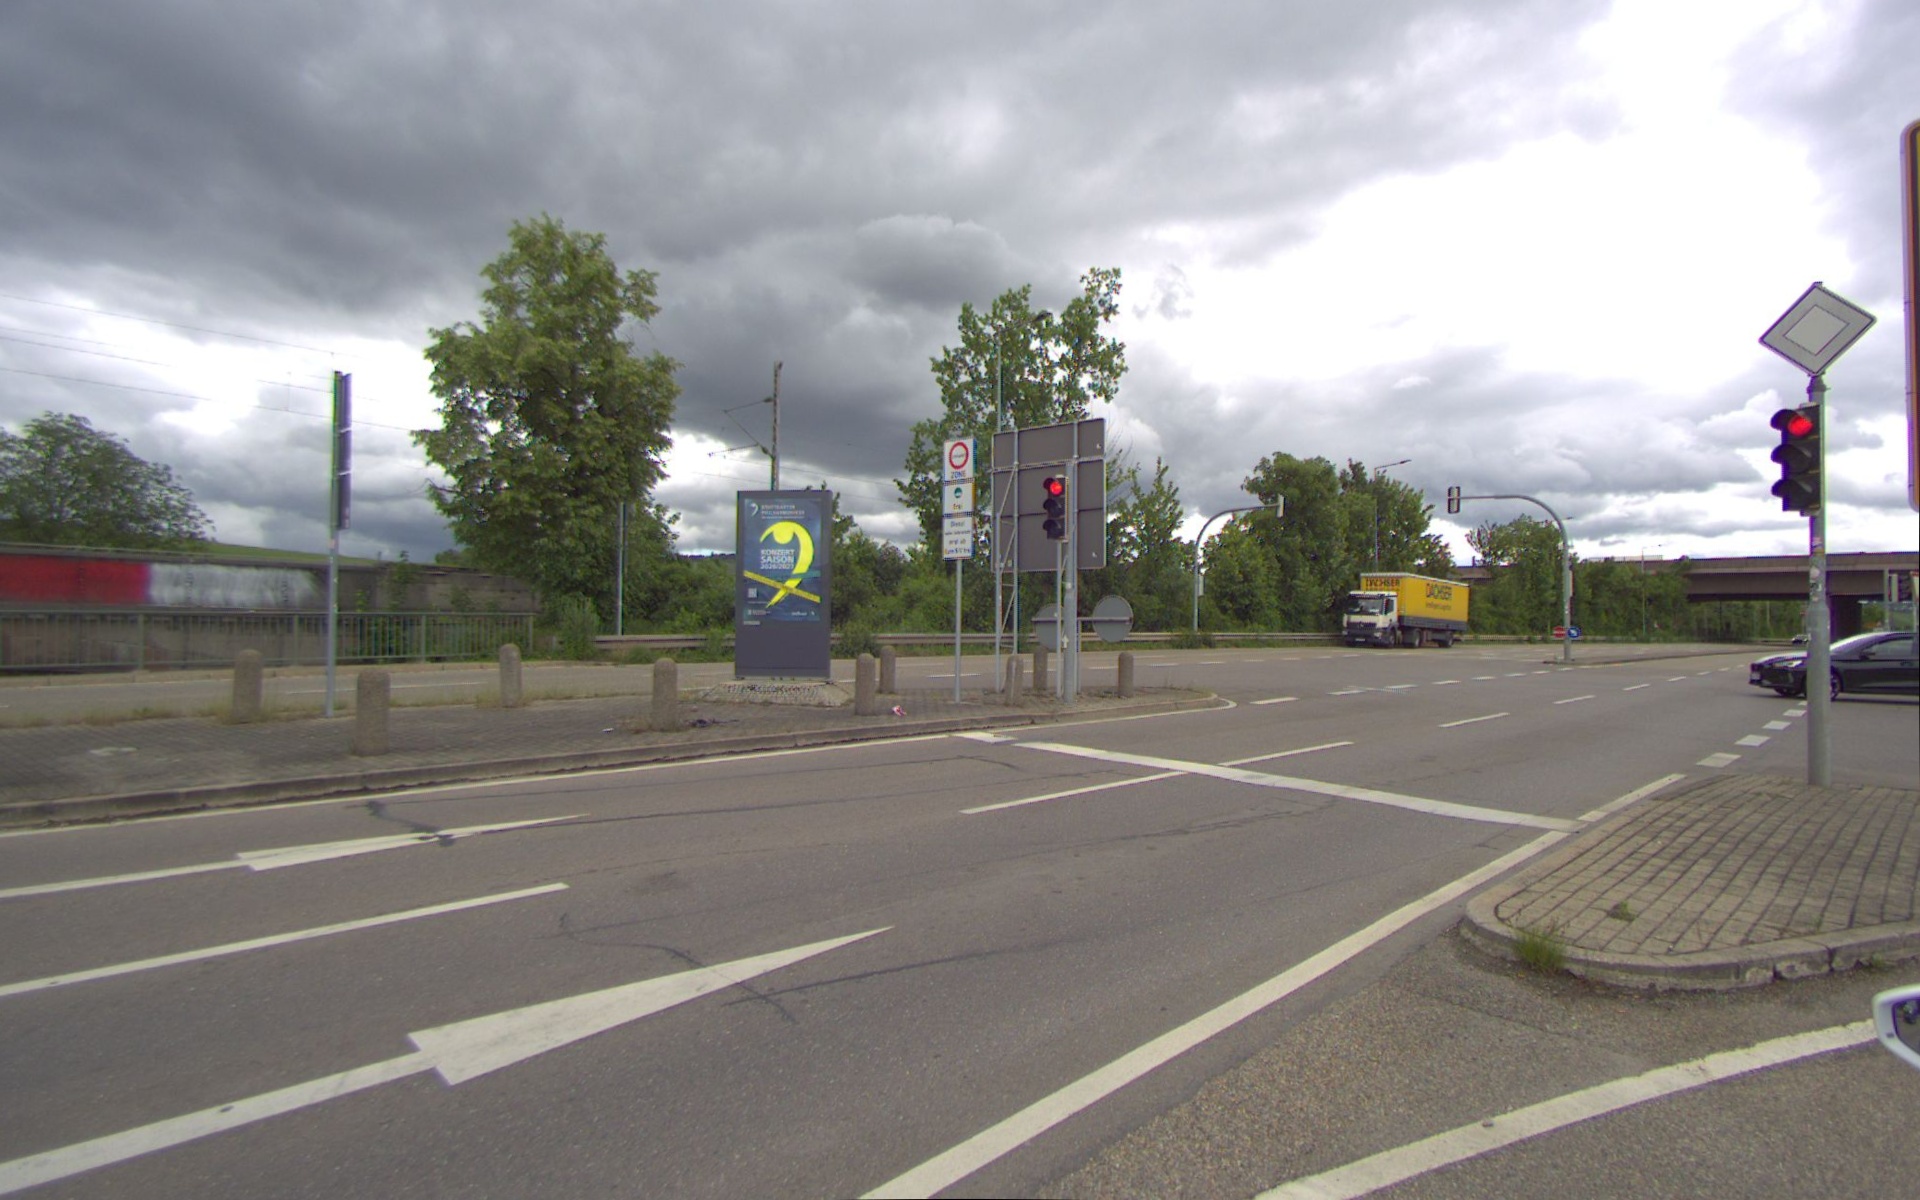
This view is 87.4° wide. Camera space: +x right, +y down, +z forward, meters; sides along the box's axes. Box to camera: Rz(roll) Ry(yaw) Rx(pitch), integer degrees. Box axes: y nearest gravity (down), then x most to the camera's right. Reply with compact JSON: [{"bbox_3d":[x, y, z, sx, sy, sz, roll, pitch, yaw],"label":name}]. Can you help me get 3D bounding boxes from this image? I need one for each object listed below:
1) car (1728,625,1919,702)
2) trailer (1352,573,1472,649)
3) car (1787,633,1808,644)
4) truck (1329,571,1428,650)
[{"bbox_3d":[19.301,1.315,21.193,4.531,1.477,1.955,0,0,22],"label":"car"},{"bbox_3d":[27.421,0.664,60.527,2.841,4.139,11.357,3,1,44],"label":"trailer"},{"bbox_3d":[127.929,5.823,153.341,3.838,1.402,1.846,-1,4,-41],"label":"car"},{"bbox_3d":[23.617,0.574,56.540,2.841,4.139,6.447,3,1,44],"label":"truck"}]
